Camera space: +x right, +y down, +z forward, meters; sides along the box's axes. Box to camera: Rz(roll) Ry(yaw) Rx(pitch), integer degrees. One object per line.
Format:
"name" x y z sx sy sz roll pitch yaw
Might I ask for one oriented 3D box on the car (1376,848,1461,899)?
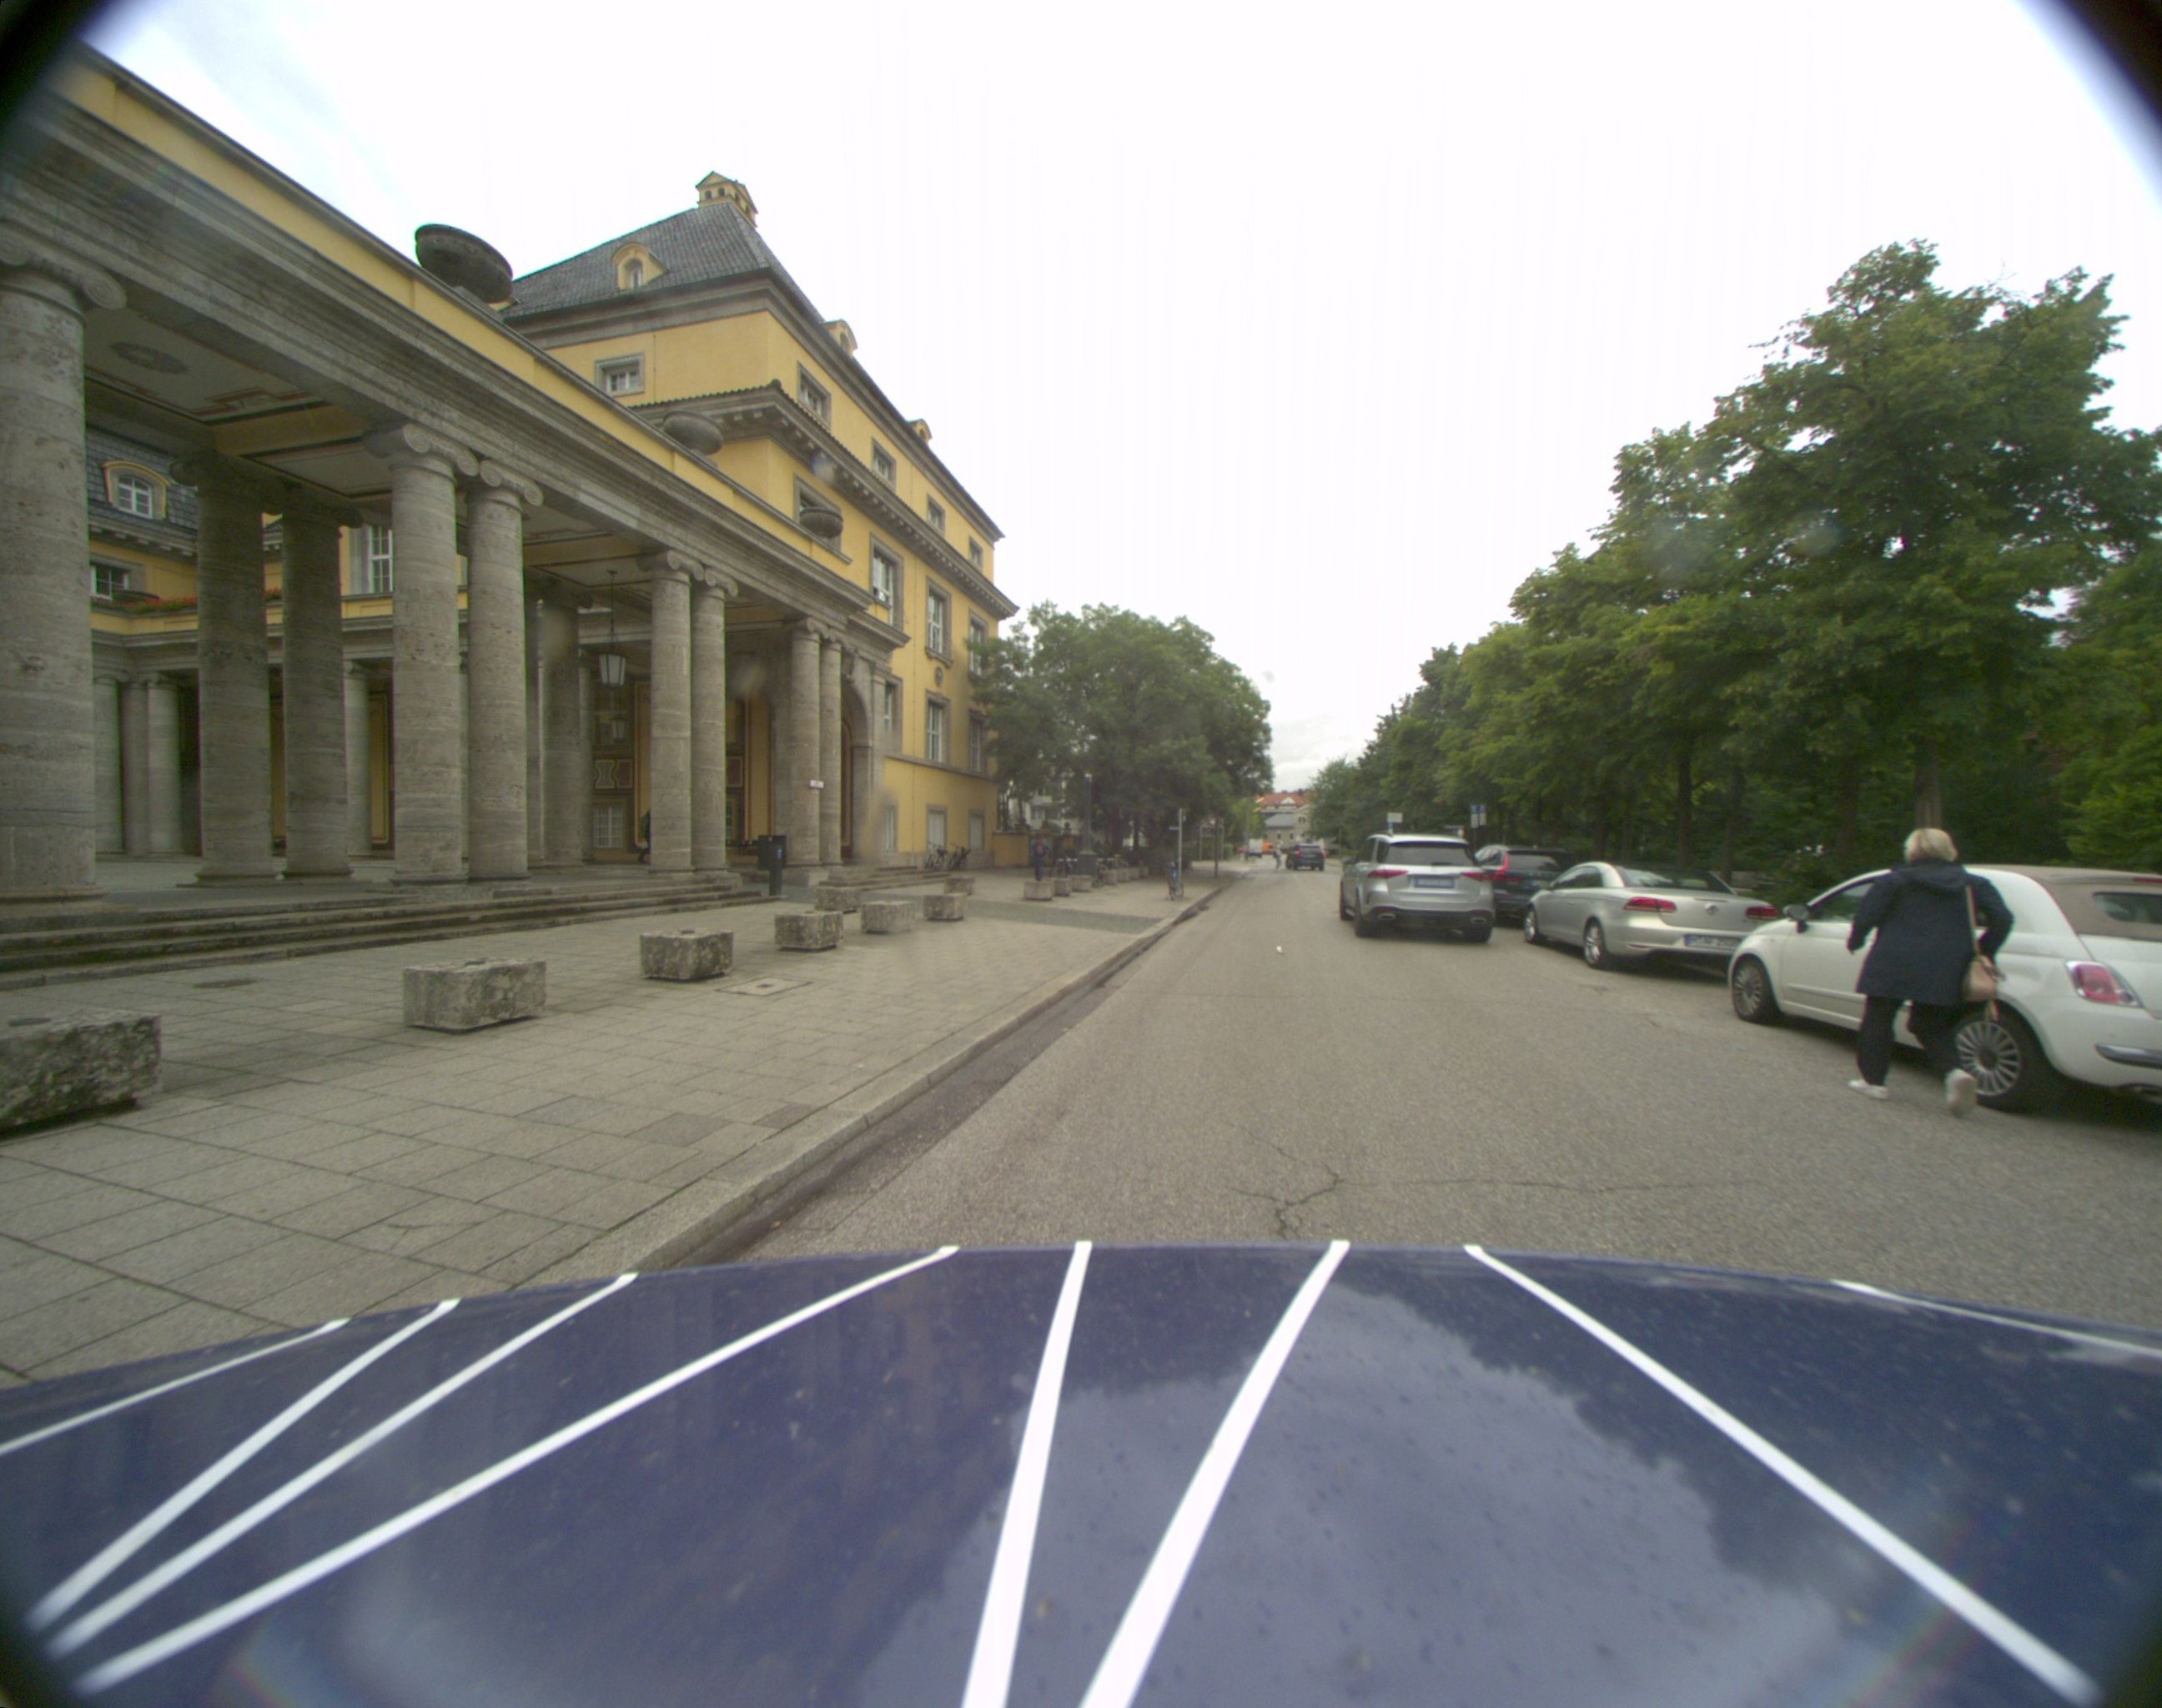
"car" 11.475 0.602 26.129 1.996 1.535 4.369 2 1 16

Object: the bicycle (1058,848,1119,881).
"bicycle" 0.298 0.405 29.606 2.261 1.053 0.602 6 3 4

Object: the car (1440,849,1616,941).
"car" 9.200 0.729 16.129 1.996 1.574 4.526 2 1 14

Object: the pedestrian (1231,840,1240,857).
"pedestrian" 16.914 -0.613 83.113 0.776 1.855 0.998 -2 1 7

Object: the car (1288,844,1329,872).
"car" 15.136 0.214 50.844 1.963 1.672 4.915 3 2 10

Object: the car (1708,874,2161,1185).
"car" 6.466 0.976 5.500 1.545 1.462 3.556 3 1 14

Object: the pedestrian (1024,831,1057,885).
"pedestrian" -1.356 0.110 25.369 0.789 1.736 1.057 2 2 14

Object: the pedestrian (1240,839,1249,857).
"pedestrian" 17.812 -0.642 82.818 0.776 1.855 0.998 -2 1 8

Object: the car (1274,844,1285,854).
"car" 41.664 -1.098 159.453 2.219 1.840 4.735 -2 1 15

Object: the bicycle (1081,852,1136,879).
"bicycle" 1.180 0.487 32.551 2.259 1.005 0.602 3 1 17

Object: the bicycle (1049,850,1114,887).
"bicycle" 0.030 0.522 27.889 2.261 1.089 0.602 6 3 4

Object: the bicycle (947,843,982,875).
"bicycle" -4.895 0.192 32.065 0.600 1.299 2.167 2 1 14

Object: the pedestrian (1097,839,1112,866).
"pedestrian" 1.546 -0.115 50.551 0.740 1.735 0.842 4 3 14

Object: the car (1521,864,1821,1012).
"car" 7.731 0.948 10.543 1.760 1.392 4.222 4 2 16

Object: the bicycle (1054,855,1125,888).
"bicycle" 0.298 0.601 26.540 2.367 1.000 0.678 3 2 6

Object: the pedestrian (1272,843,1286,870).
"pedestrian" 12.645 0.147 48.527 0.797 1.722 0.661 -2 1 13

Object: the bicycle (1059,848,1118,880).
"bicycle" 0.314 0.396 30.546 2.261 1.018 0.602 6 3 4

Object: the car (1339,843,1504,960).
"car" 5.844 0.668 13.661 2.027 1.679 4.682 2 1 16

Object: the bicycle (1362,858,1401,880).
"bicycle" 14.920 0.742 37.750 1.698 1.101 0.599 0 2 6

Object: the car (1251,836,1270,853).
"car" 25.298 -1.358 107.486 2.234 2.289 4.733 -2 1 9

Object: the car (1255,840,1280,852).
"car" 41.338 -1.819 168.340 2.577 2.521 4.975 -3 1 -32

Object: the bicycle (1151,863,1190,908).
"bicycle" 2.546 0.853 21.395 0.761 1.094 2.266 3 2 14

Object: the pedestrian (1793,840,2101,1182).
"pedestrian" 4.938 0.811 4.429 0.689 1.742 0.894 3 2 11

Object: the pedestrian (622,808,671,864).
"pedestrian" -13.679 -0.557 23.946 0.983 1.710 0.806 -2 1 4

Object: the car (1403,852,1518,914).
"car" 10.521 0.709 21.443 1.996 1.453 4.652 2 1 16

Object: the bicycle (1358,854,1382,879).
"bicycle" 14.963 0.642 39.317 1.422 1.275 0.574 -1 1 -43

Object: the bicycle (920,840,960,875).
"bicycle" -5.494 0.111 29.779 0.600 1.299 2.266 2 1 15
